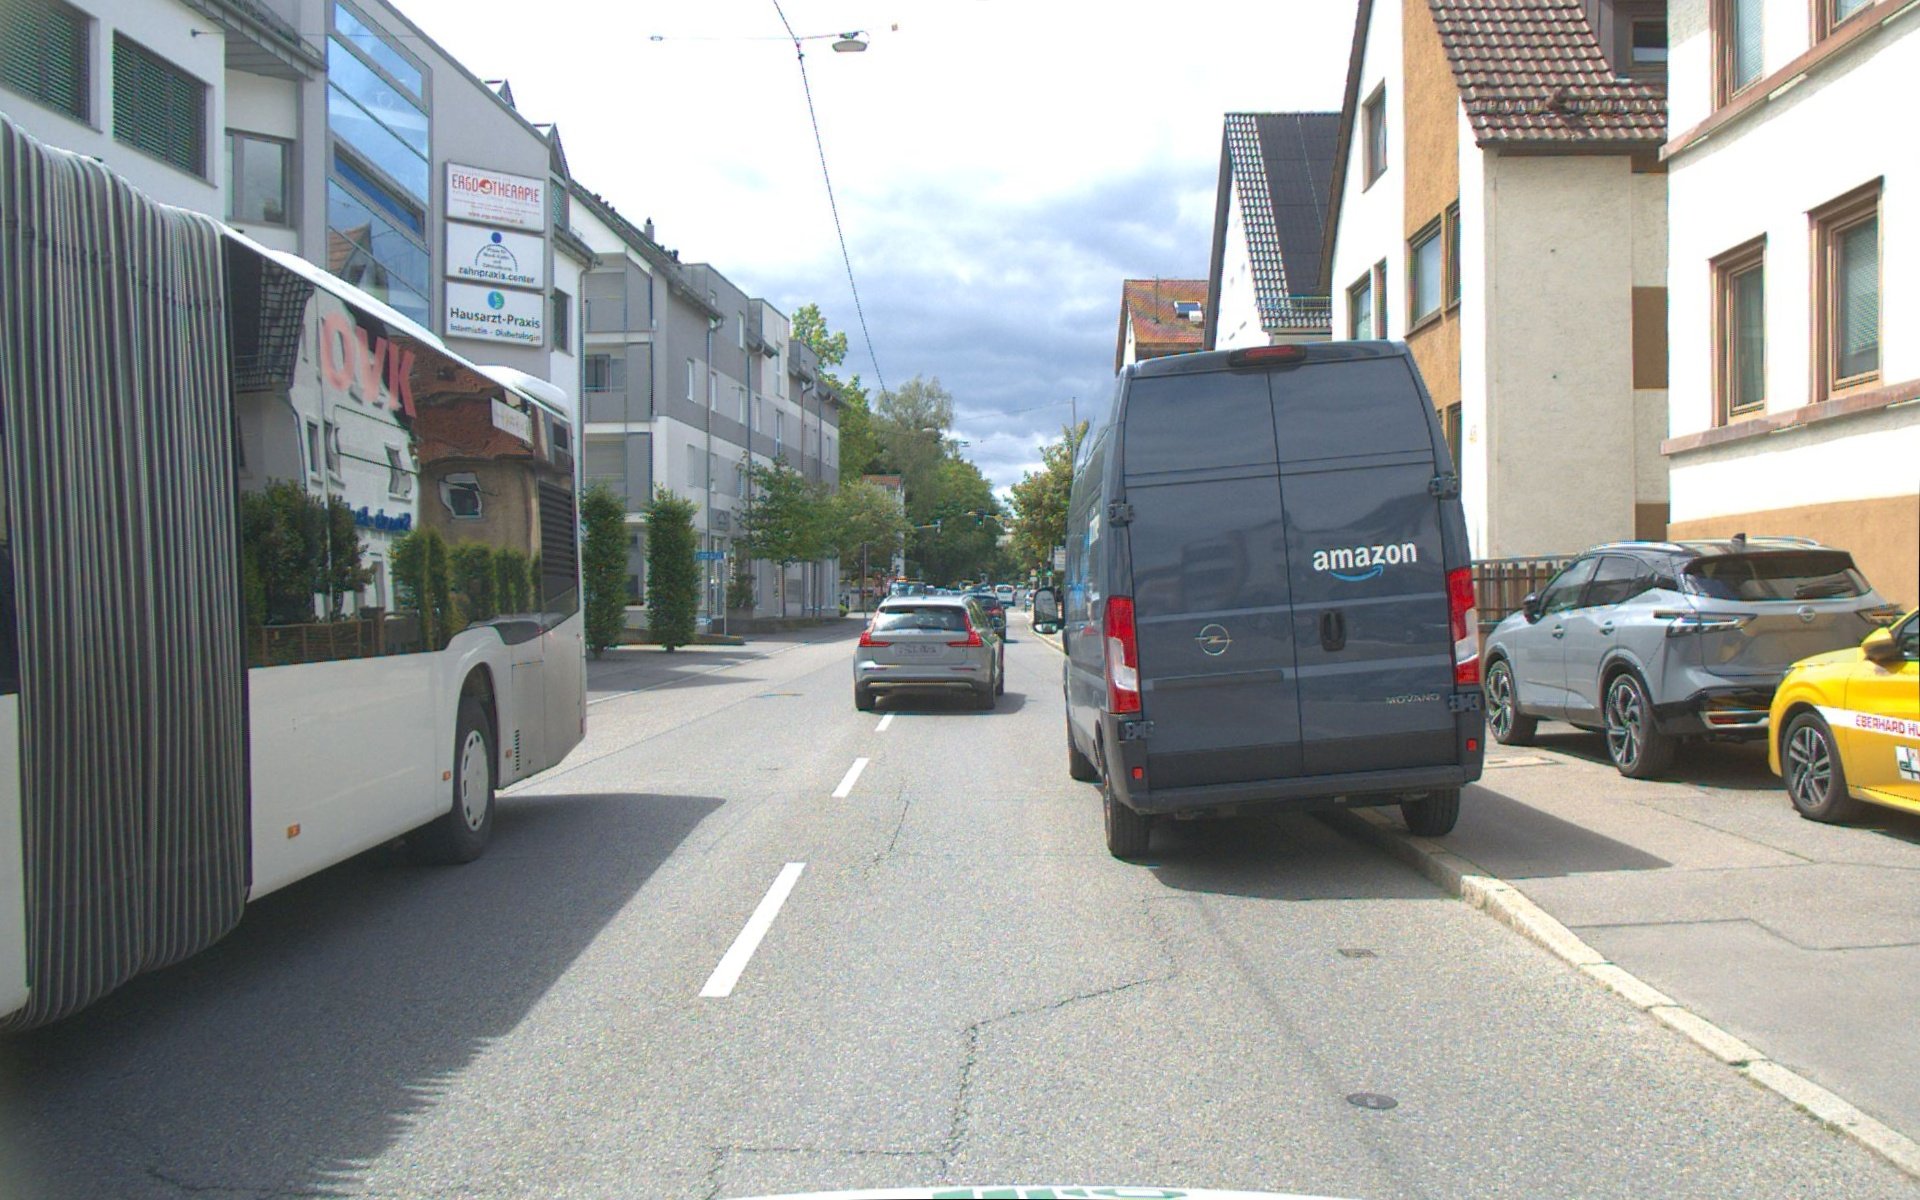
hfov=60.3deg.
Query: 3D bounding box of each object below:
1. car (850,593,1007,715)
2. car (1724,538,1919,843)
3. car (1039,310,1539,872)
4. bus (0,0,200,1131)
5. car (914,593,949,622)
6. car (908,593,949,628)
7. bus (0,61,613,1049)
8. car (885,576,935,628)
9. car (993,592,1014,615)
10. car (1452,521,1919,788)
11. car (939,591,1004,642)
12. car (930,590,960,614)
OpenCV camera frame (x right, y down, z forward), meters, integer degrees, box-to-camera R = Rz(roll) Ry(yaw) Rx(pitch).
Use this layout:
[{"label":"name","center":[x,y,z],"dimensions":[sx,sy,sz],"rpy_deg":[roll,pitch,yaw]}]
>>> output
[{"label":"car","center":[-0.340,0.668,22.632],"dimensions":[1.857,1.479,3.970],"rpy_deg":[-1,0,3]},{"label":"car","center":[5.674,0.458,8.039],"dimensions":[1.839,1.472,4.307],"rpy_deg":[-1,3,-2]},{"label":"car","center":[1.819,-0.065,11.246],"dimensions":[2.207,2.844,5.568],"rpy_deg":[-1,0,-1]},{"label":"bus","center":[-3.627,-0.196,0.417],"dimensions":[2.629,3.219,10.178],"rpy_deg":[-1,0,-3]},{"label":"car","center":[-1.677,0.428,98.797],"dimensions":[2.062,1.624,4.649],"rpy_deg":[-1,0,0]},{"label":"car","center":[-1.604,0.502,86.207],"dimensions":[2.062,1.739,4.765],"rpy_deg":[-1,0,0]},{"label":"bus","center":[-4.059,-0.147,9.386],"dimensions":[2.661,3.219,8.065],"rpy_deg":[-1,0,-2]},{"label":"car","center":[-2.204,0.078,74.377],"dimensions":[2.062,2.158,4.765],"rpy_deg":[-3,0,0]},{"label":"car","center":[4.017,0.301,152.002],"dimensions":[1.952,2.049,4.001],"rpy_deg":[-1,0,2]},{"label":"car","center":[5.440,0.321,12.827],"dimensions":[1.822,1.640,4.586],"rpy_deg":[-2,0,0]},{"label":"car","center":[0.386,0.466,50.274],"dimensions":[1.857,1.472,3.969],"rpy_deg":[-1,0,2]},{"label":"car","center":[-1.062,0.126,119.520],"dimensions":[2.062,1.624,4.649],"rpy_deg":[-1,0,0]}]
